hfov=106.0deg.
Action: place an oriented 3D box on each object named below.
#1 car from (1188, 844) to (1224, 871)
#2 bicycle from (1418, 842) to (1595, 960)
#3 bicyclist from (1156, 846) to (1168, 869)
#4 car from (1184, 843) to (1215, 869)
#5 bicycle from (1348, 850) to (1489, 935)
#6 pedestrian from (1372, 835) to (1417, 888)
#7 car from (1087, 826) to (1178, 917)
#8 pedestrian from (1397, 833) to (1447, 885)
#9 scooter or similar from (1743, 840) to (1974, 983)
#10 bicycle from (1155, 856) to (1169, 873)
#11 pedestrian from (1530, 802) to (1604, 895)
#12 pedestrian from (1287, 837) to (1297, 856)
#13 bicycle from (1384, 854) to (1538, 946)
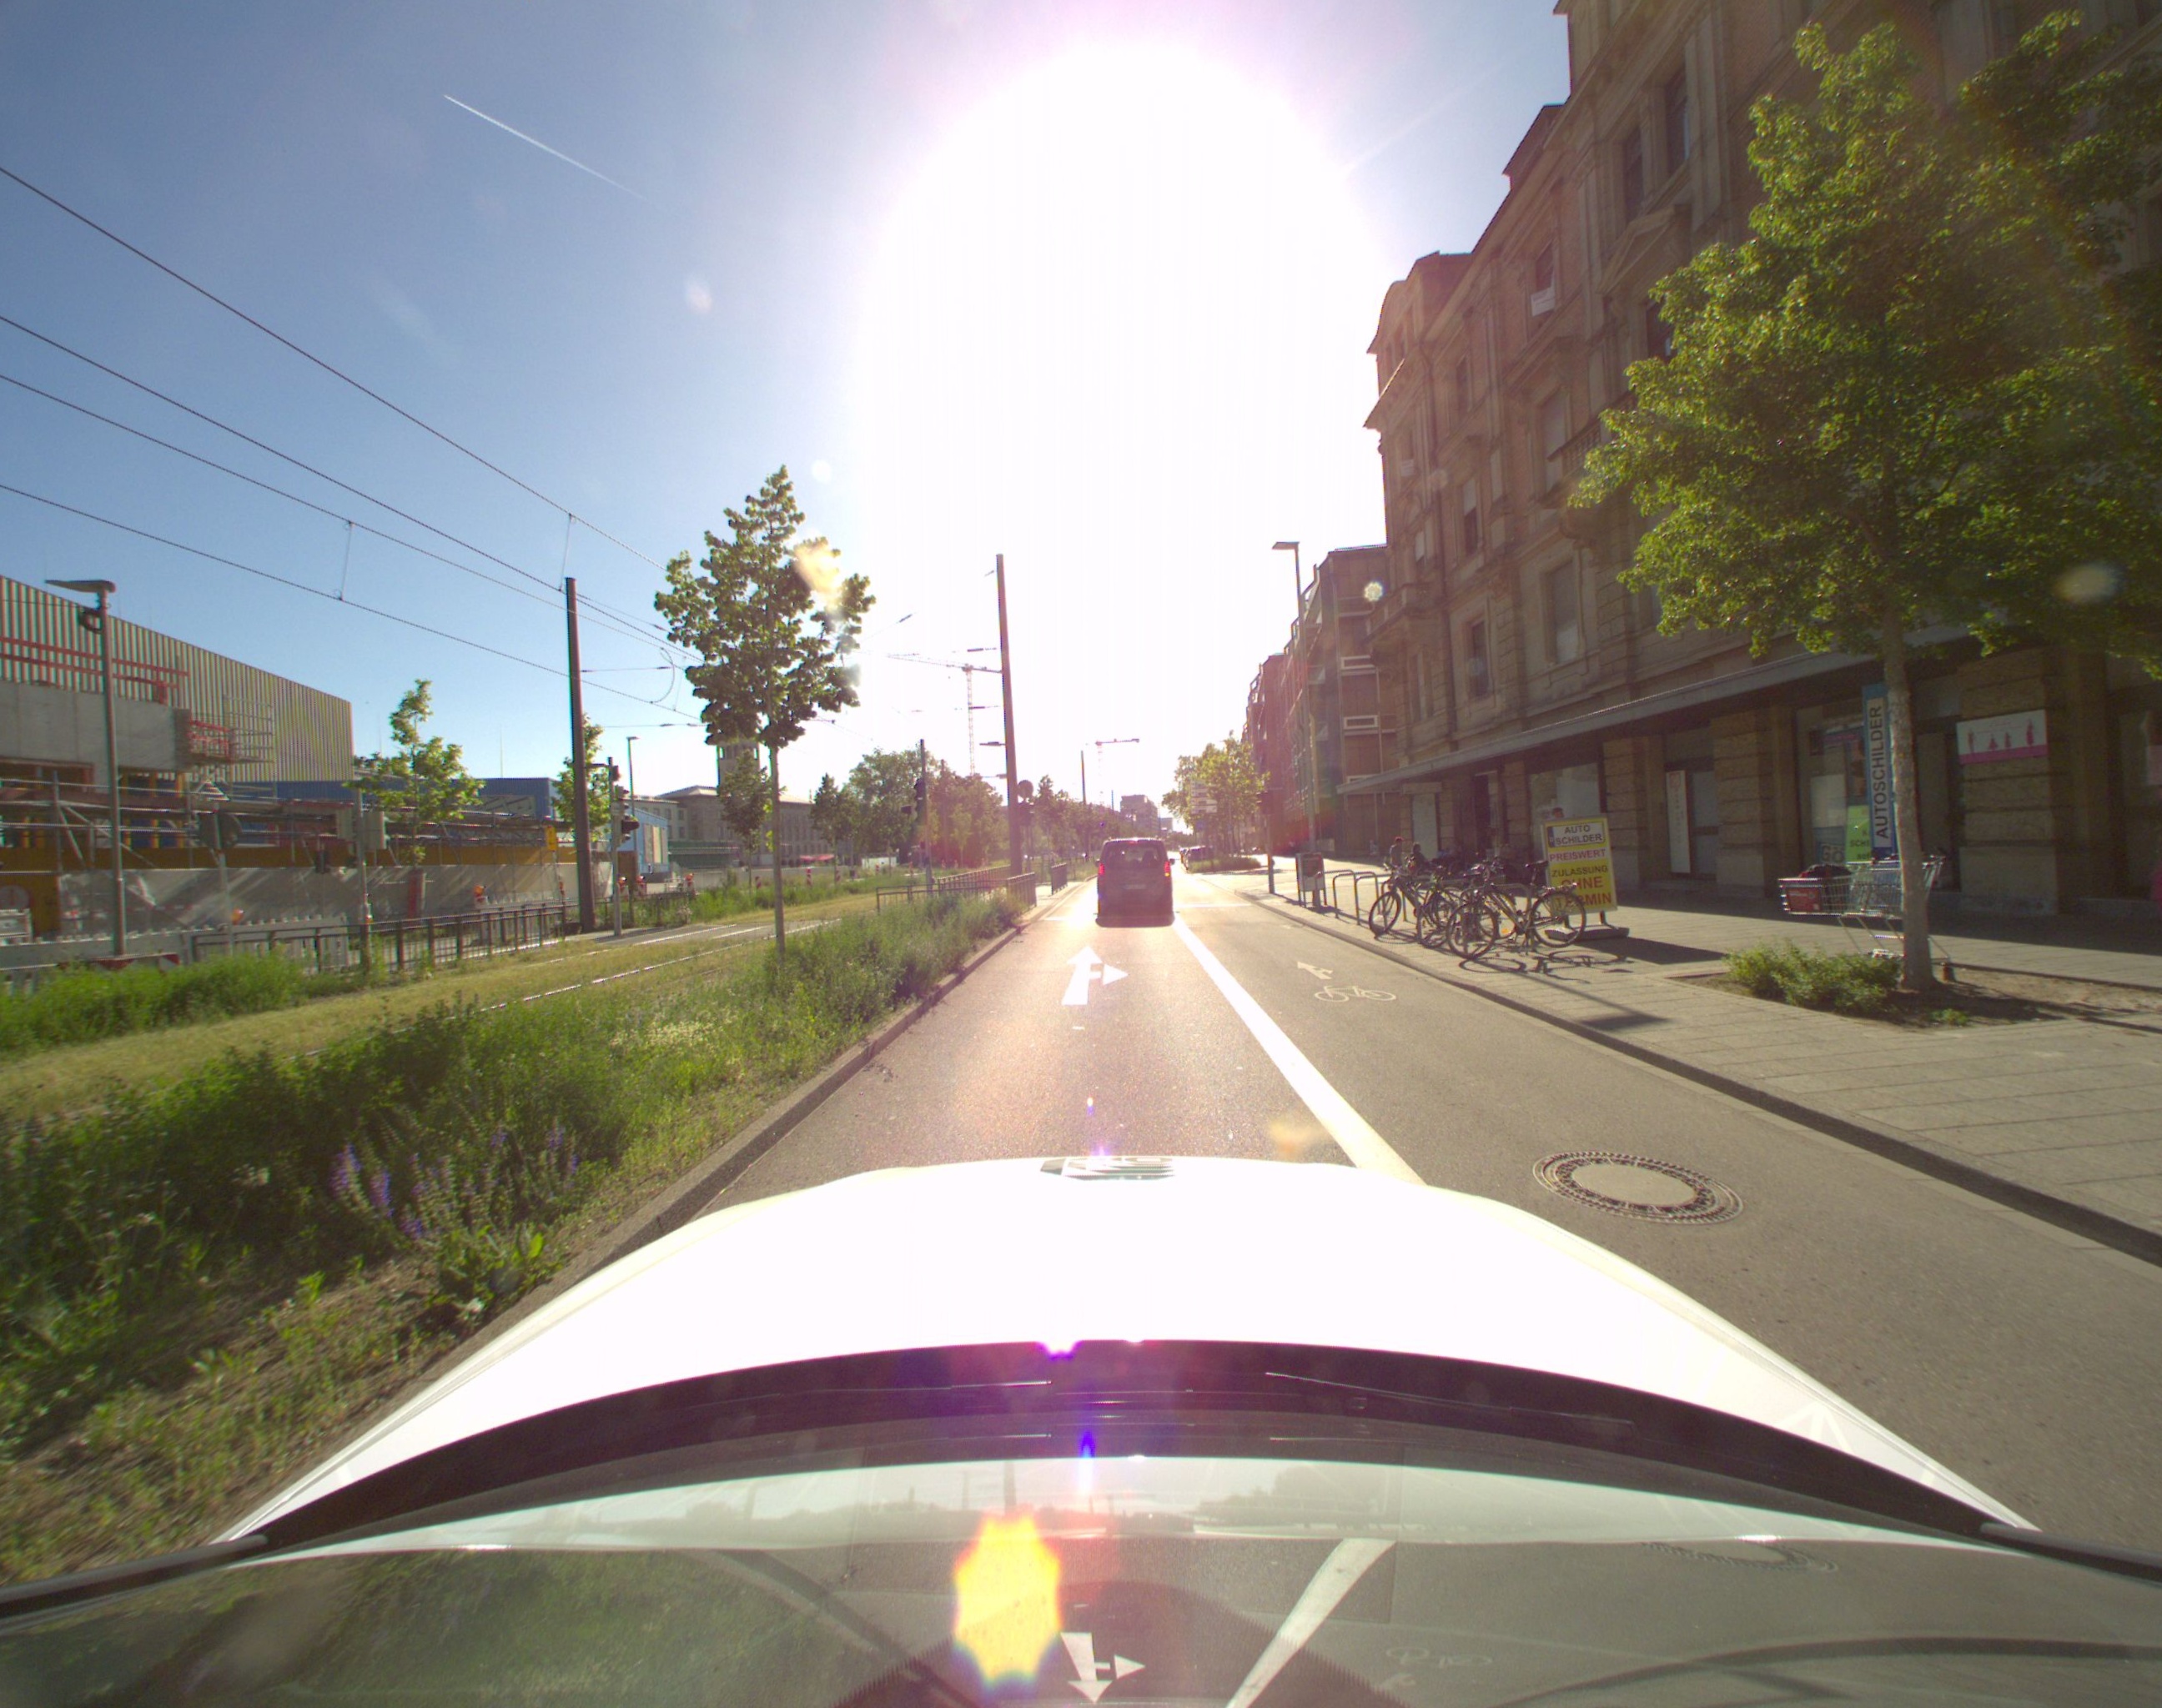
[{"bbox_3d":[7.969,0.227,52.190,1.979,1.638,4.196,-2,-1,5],"label":"car"},{"bbox_3d":[5.214,0.555,10.005,1.876,1.233,0.499,-5,-1,-6],"label":"bicycle"},{"bbox_3d":[5.594,0.233,56.542,0.680,1.584,0.839,-2,0,0],"label":"bicyclist"},{"bbox_3d":[8.475,0.169,58.508,2.011,1.722,4.125,-2,-1,5],"label":"car"},{"bbox_3d":[5.390,0.603,13.057,1.913,1.121,0.663,-6,0,-6],"label":"bicycle"},{"bbox_3d":[8.486,0.199,22.077,0.700,1.336,1.011,-7,-1,1],"label":"pedestrian"},{"bbox_3d":[1.246,0.374,20.424,1.986,2.013,4.003,-2,0,2],"label":"car"},{"bbox_3d":[9.294,0.130,22.231,0.829,1.287,1.008,-7,0,2],"label":"pedestrian"},{"bbox_3d":[6.777,0.478,7.159,1.215,1.106,0.783,-4,0,3],"label":"scooter or similar"},{"bbox_3d":[5.604,0.708,56.584,0.699,1.091,2.277,-3,0,0],"label":"bicycle"},{"bbox_3d":[9.586,-0.098,16.098,0.841,1.742,0.886,-4,-1,1],"label":"pedestrian"},{"bbox_3d":[19.026,-0.677,73.468,0.696,1.652,0.726,-3,0,9],"label":"pedestrian"},{"bbox_3d":[5.362,0.631,11.540,1.822,1.078,0.663,-6,0,-6],"label":"bicycle"}]
